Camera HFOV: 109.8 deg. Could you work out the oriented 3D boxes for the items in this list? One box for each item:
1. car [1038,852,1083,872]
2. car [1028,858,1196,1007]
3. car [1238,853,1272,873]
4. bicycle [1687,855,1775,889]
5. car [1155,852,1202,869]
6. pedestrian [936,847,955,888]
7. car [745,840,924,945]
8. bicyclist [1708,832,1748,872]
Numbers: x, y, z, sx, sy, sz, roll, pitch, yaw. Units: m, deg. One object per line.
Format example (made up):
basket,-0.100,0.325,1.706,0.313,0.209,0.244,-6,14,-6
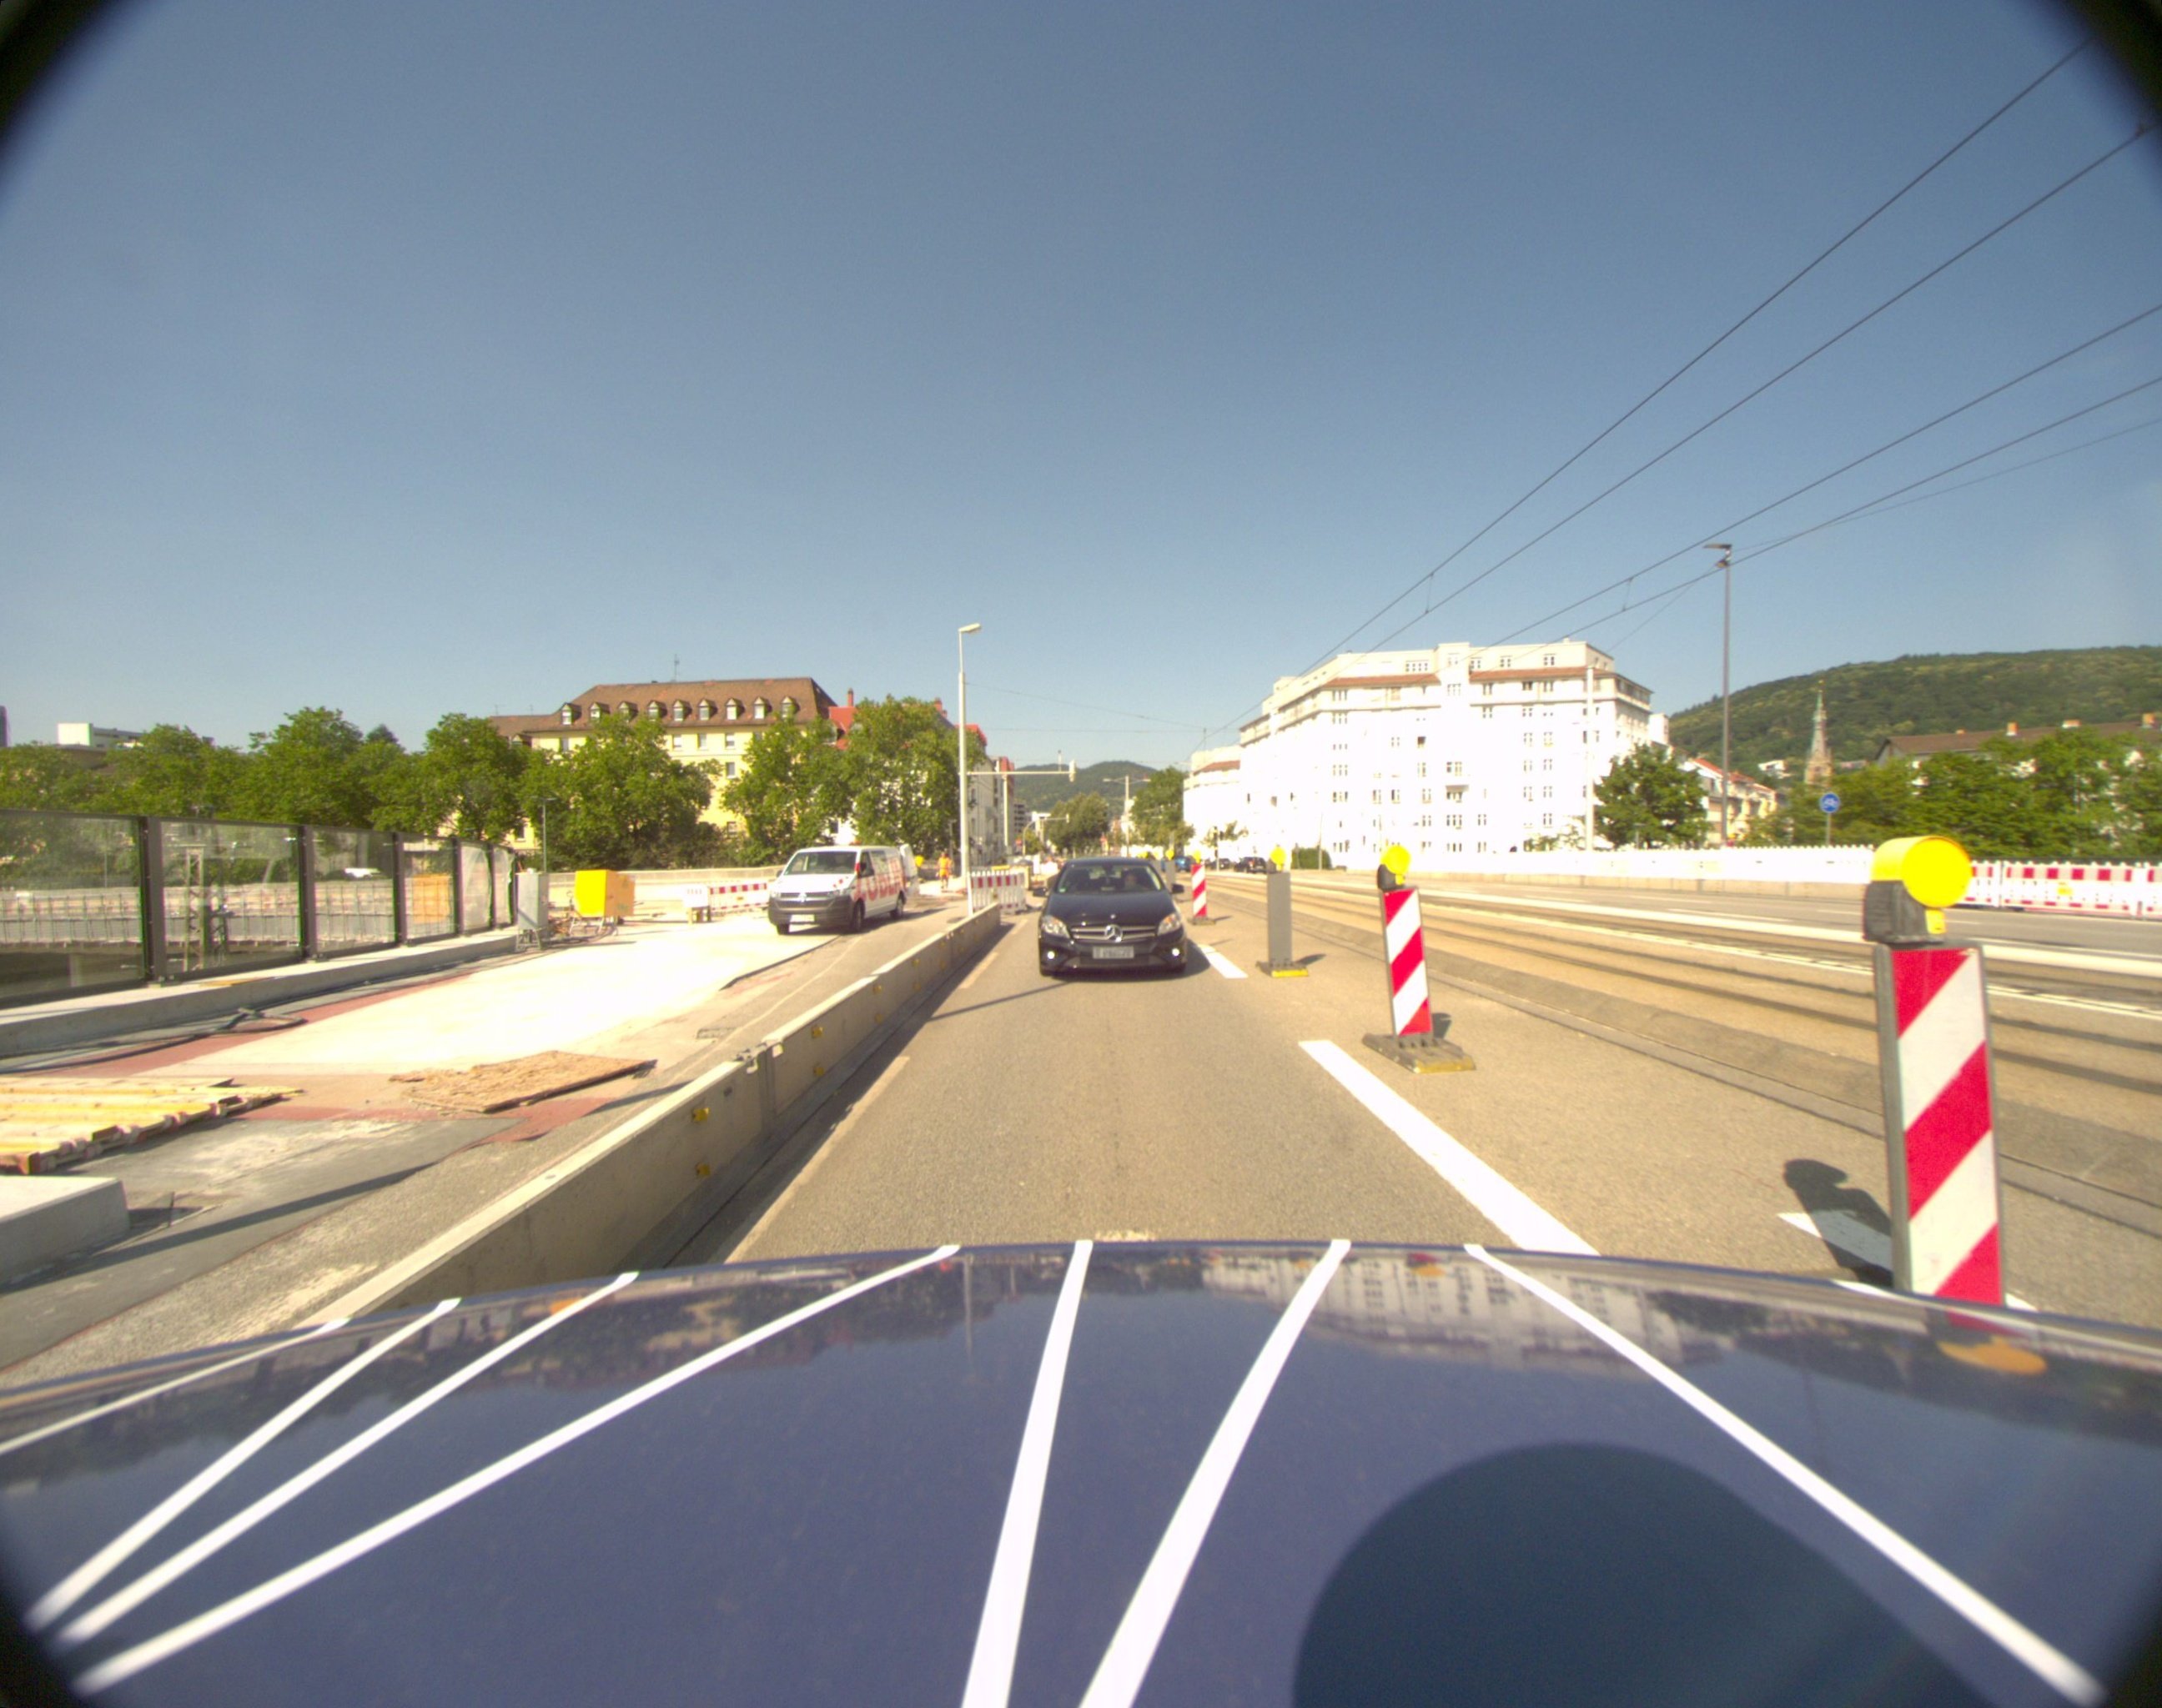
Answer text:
car,-2.069,0.805,75.676,3.993,1.673,2.002,-4,-1,14
car,0.357,0.840,10.156,1.698,1.389,4.362,-2,1,1
car,13.600,0.667,59.579,1.801,1.477,4.000,-1,0,2
bicycle,25.700,0.676,30.149,0.858,1.188,3.071,-2,1,0
car,8.894,0.604,69.644,2.044,1.477,3.990,-2,0,-37
pedestrian,-6.677,0.651,37.355,0.761,1.973,0.843,0,2,1
car,-5.673,0.722,18.657,1.938,2.078,6.469,-1,1,3
bicyclist,25.663,-0.084,30.155,0.858,1.510,0.817,-2,1,0
